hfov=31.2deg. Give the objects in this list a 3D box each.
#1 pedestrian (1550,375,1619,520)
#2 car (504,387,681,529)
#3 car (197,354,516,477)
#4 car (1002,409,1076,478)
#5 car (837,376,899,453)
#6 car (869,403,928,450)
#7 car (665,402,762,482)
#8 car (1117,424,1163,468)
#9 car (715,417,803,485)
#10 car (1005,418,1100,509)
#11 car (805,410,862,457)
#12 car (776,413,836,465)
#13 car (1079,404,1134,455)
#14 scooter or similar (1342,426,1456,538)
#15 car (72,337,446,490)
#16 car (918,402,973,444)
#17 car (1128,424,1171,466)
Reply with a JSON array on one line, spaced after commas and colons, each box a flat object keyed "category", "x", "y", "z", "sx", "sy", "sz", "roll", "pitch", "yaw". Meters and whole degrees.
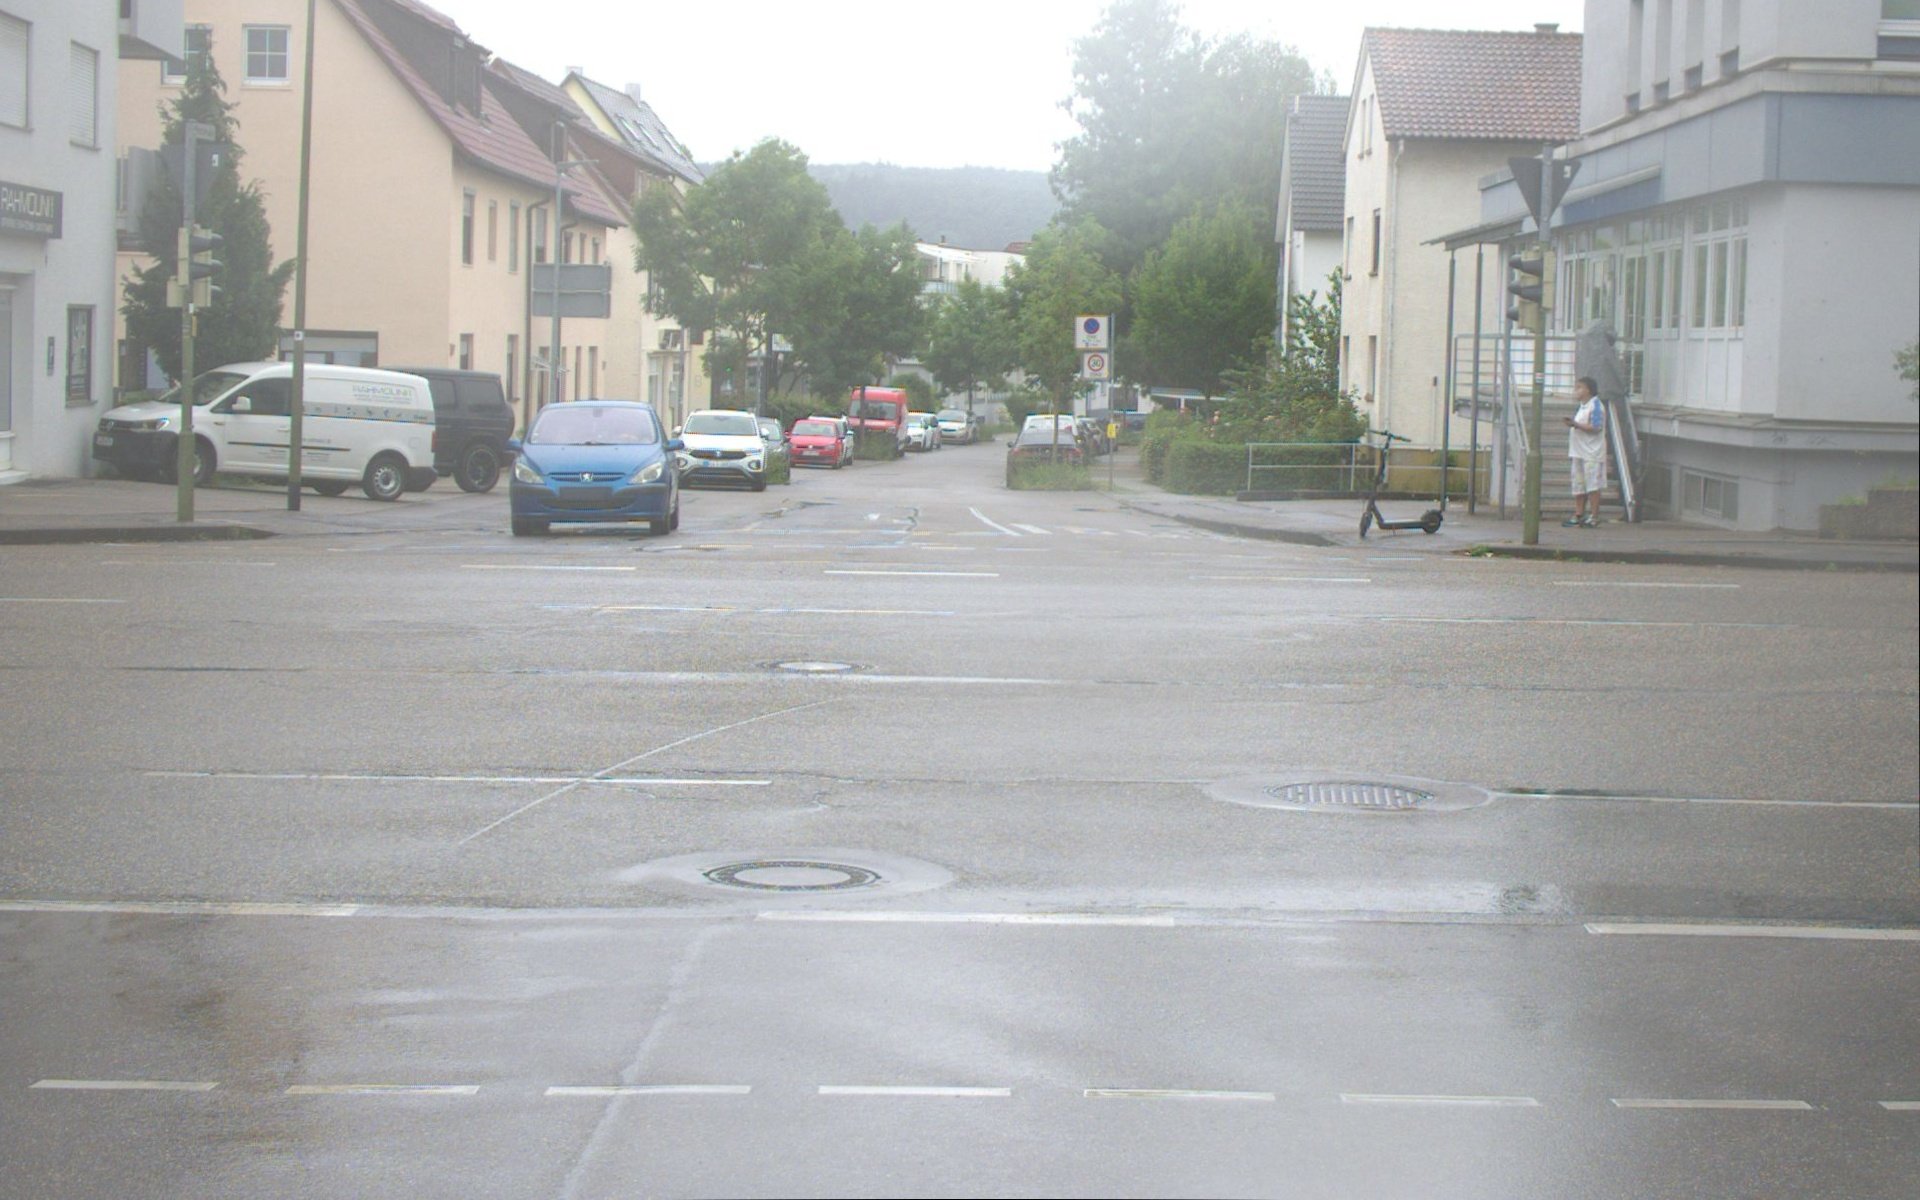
[{"category": "pedestrian", "x": 7.195, "y": -1.751, "z": 39.618, "sx": 0.654, "sy": 1.646, "sz": 0.646, "roll": 1, "pitch": 0, "yaw": 0}, {"category": "car", "x": -4.068, "y": -1.547, "z": 38.546, "sx": 1.767, "sy": 1.440, "sz": 4.001, "roll": 1, "pitch": 1, "yaw": -3}, {"category": "car", "x": -9.539, "y": -2.901, "z": 54.541, "sx": 4.608, "sy": 1.882, "sz": 1.963, "roll": -2, "pitch": 3, "yaw": -39}, {"category": "car", "x": 2.406, "y": -4.720, "z": 103.588, "sx": 1.994, "sy": 2.006, "sz": 4.000, "roll": 1, "pitch": 3, "yaw": 5}, {"category": "car", "x": -3.373, "y": -6.847, "z": 127.210, "sx": 2.216, "sy": 2.759, "sz": 5.726, "roll": 0, "pitch": 3, "yaw": -1}, {"category": "car", "x": -2.455, "y": -6.997, "z": 138.817, "sx": 1.994, "sy": 1.678, "sz": 3.999, "roll": 1, "pitch": 1, "yaw": 5}, {"category": "car", "x": -4.835, "y": -3.110, "z": 67.834, "sx": 1.767, "sy": 1.518, "sz": 4.001, "roll": 0, "pitch": 3, "yaw": -2}, {"category": "car", "x": 8.497, "y": -7.252, "z": 161.893, "sx": 1.994, "sy": 2.006, "sz": 4.000, "roll": 1, "pitch": 3, "yaw": 5}, {"category": "car", "x": -4.625, "y": -3.450, "z": 79.455, "sx": 1.767, "sy": 1.513, "sz": 4.195, "roll": 0, "pitch": 3, "yaw": 0}, {"category": "car", "x": 2.220, "y": -3.214, "z": 81.423, "sx": 1.994, "sy": 2.007, "sz": 3.999, "roll": 1, "pitch": 1, "yaw": 5}, {"category": "car", "x": -4.162, "y": -5.450, "z": 112.583, "sx": 1.767, "sy": 1.513, "sz": 4.001, "roll": 0, "pitch": 3, "yaw": -3}, {"category": "car", "x": -4.694, "y": -4.885, "z": 104.282, "sx": 1.767, "sy": 1.513, "sz": 4.001, "roll": 0, "pitch": 3, "yaw": -3}, {"category": "car", "x": 5.886, "y": -6.816, "z": 137.712, "sx": 1.994, "sy": 2.006, "sz": 4.000, "roll": 1, "pitch": 3, "yaw": 5}, {"category": "scooter or similar", "x": 4.918, "y": -1.318, "z": 38.542, "sx": 1.058, "sy": 1.223, "sz": 0.802, "roll": 1, "pitch": 0, "yaw": -9}, {"category": "car", "x": -9.663, "y": -2.544, "z": 47.572, "sx": 4.715, "sy": 1.772, "sz": 1.772, "roll": 2, "pitch": 1, "yaw": -39}, {"category": "car", "x": -0.627, "y": -7.946, "z": 154.459, "sx": 1.994, "sy": 1.700, "sz": 3.999, "roll": 1, "pitch": 1, "yaw": 6}, {"category": "car", "x": 9.406, "y": -7.688, "z": 170.394, "sx": 1.994, "sy": 2.006, "sz": 4.000, "roll": 1, "pitch": 3, "yaw": 5}]
